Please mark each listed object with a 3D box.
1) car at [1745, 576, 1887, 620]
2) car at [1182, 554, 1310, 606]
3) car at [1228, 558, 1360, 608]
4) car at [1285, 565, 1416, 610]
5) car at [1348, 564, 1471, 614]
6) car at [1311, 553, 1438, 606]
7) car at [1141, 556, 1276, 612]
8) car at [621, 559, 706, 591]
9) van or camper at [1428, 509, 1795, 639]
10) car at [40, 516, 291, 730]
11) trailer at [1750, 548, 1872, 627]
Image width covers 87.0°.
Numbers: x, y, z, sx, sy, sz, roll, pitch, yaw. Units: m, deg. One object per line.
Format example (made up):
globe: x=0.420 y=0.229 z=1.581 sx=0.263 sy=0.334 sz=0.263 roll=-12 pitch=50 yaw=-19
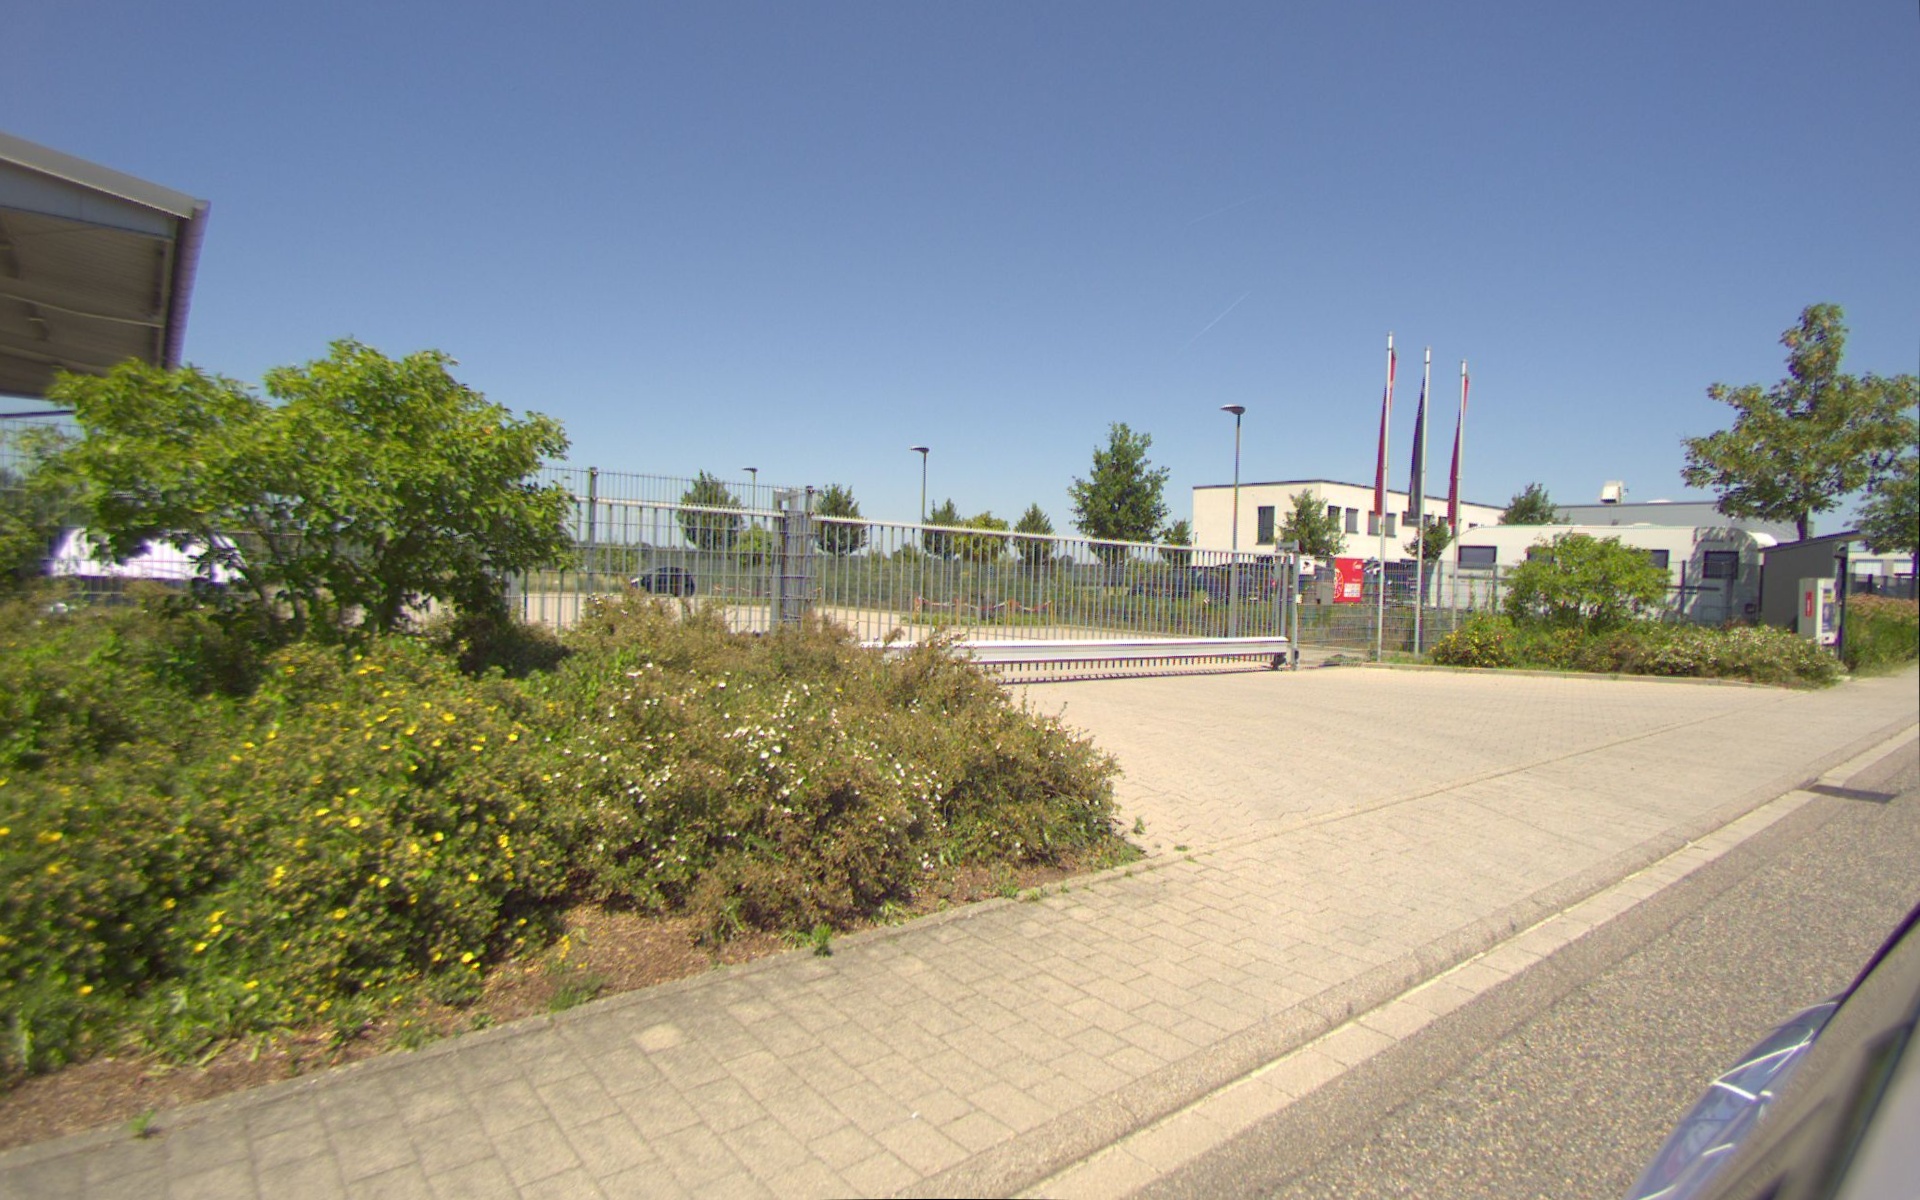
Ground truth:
car: x=33.752 y=-0.123 z=39.974 sx=1.790 sy=1.540 sz=3.996 roll=0 pitch=3 yaw=-40
car: x=9.442 y=-0.699 z=33.638 sx=1.648 sy=1.561 sz=3.830 roll=0 pitch=3 yaw=-40
car: x=11.615 y=-0.614 z=35.392 sx=1.717 sy=1.568 sz=4.051 roll=0 pitch=3 yaw=-40
car: x=13.932 y=-0.487 z=36.311 sx=1.717 sy=1.449 sz=4.051 roll=0 pitch=3 yaw=-40
car: x=17.894 y=-0.485 z=40.393 sx=1.884 sy=1.785 sz=4.051 roll=0 pitch=3 yaw=-40
car: x=15.842 y=-0.819 z=38.805 sx=1.884 sy=1.829 sz=4.051 roll=0 pitch=3 yaw=-40
car: x=7.785 y=-0.541 z=31.933 sx=1.719 sy=1.595 sz=3.830 roll=0 pitch=3 yaw=-40
car: x=-14.336 y=-1.162 z=49.009 sx=3.542 sy=1.475 sz=1.764 roll=0 pitch=0 yaw=-41
van or camper: x=15.007 y=-0.678 z=23.824 sx=2.589 sy=2.616 sz=6.773 roll=0 pitch=2 yaw=-40
car: x=-7.833 y=0.113 z=9.971 sx=1.673 sy=1.698 sz=3.618 roll=0 pitch=2 yaw=-40
trailer: x=27.926 y=-0.454 z=33.241 sx=1.396 sy=2.432 sz=2.826 roll=0 pitch=3 yaw=-43
